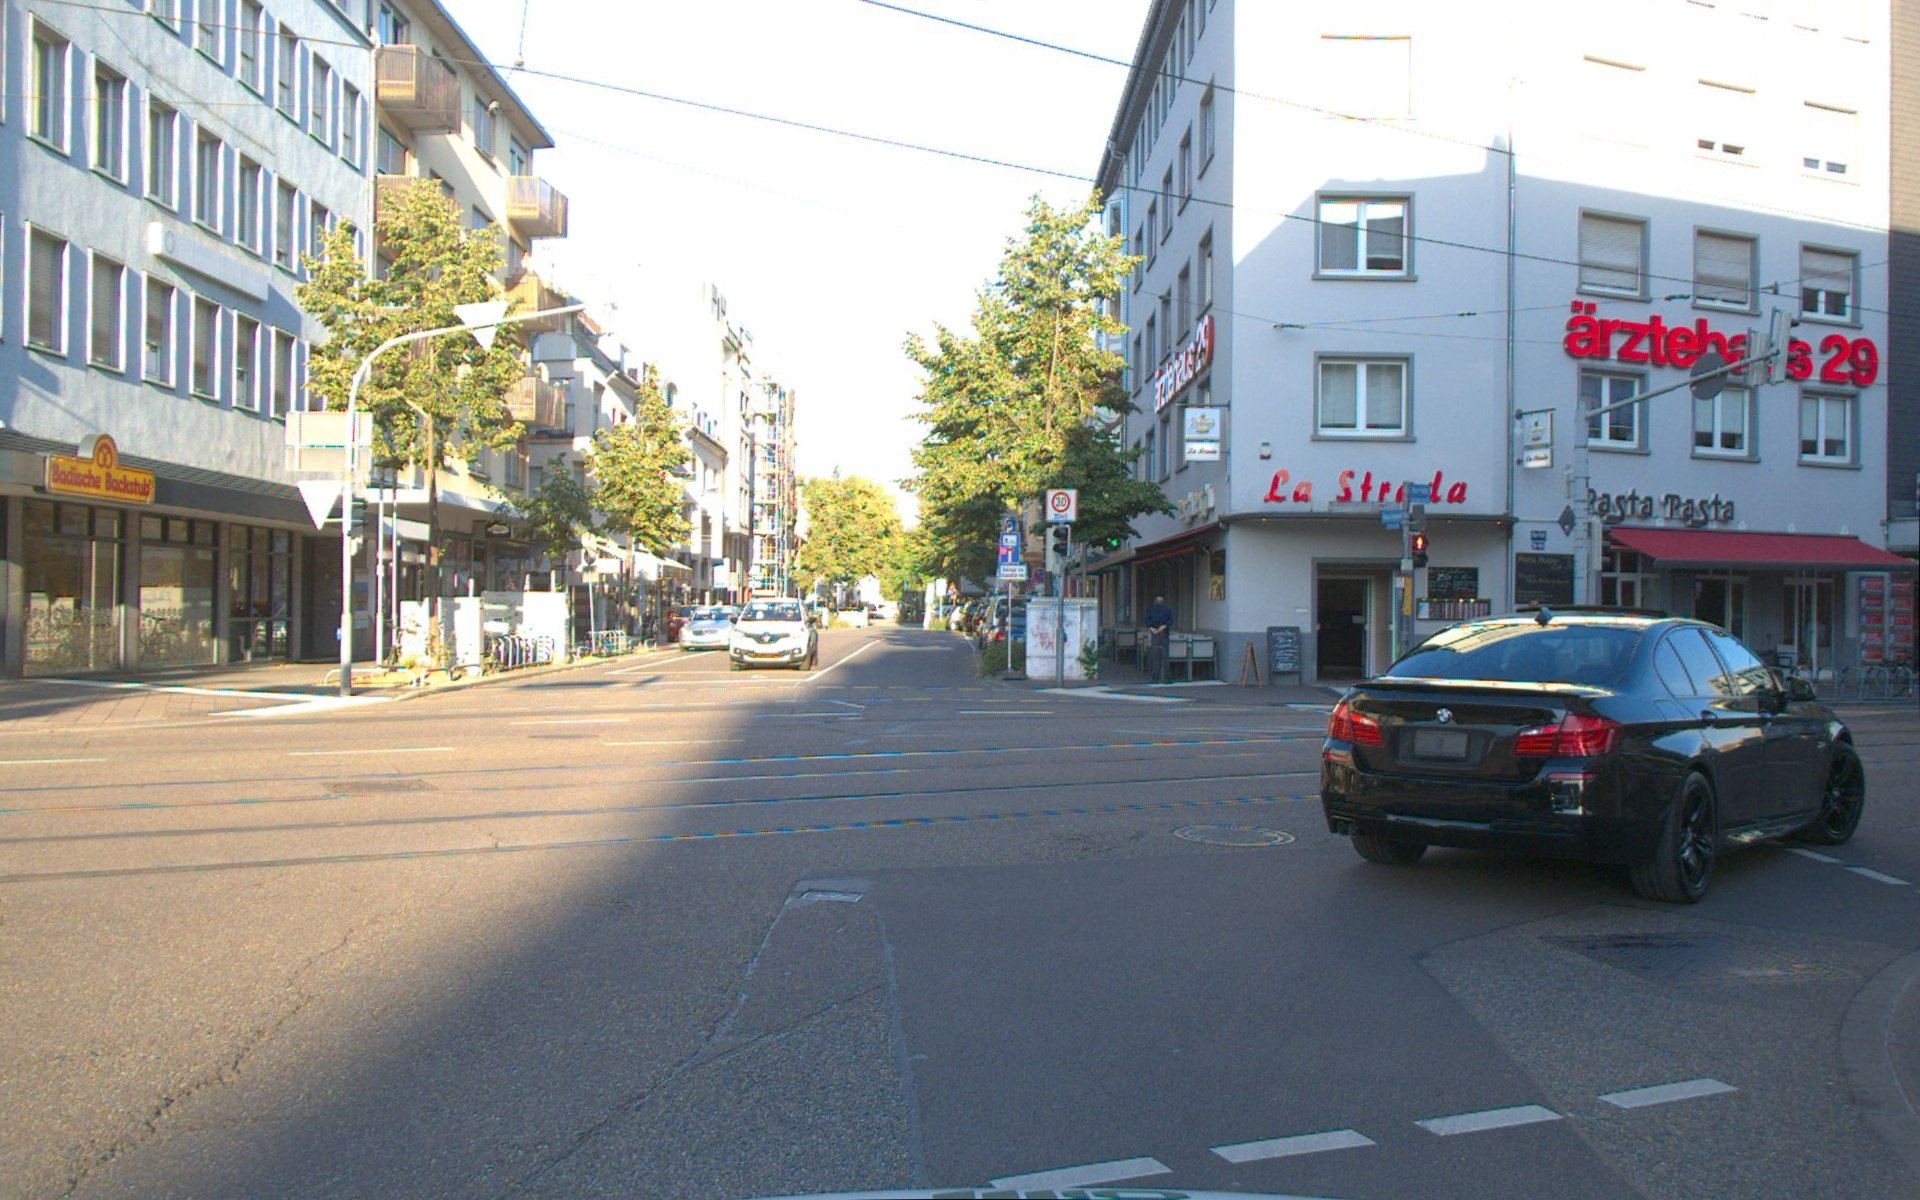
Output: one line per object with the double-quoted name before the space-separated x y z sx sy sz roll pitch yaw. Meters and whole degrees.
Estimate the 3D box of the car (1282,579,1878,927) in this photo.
"car" 3.857 0.714 9.773 1.924 1.524 4.441 2 0 40

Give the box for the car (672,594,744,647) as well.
"car" -7.957 0.615 52.471 1.798 1.583 3.778 -1 0 -2

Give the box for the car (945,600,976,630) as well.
"car" 0.026 0.942 104.120 1.813 1.825 4.001 0 0 2

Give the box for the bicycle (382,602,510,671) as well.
"bicycle" -10.274 0.722 33.106 2.321 1.275 0.639 2 -1 -5

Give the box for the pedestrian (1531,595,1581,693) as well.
"pedestrian" 10.982 0.801 30.488 0.653 1.775 0.638 1 0 -2

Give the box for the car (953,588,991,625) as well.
"car" 0.644 0.318 83.863 1.813 1.825 4.001 0 0 2

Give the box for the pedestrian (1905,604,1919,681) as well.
"pedestrian" 21.492 0.935 36.678 0.614 1.690 0.679 0 0 -24

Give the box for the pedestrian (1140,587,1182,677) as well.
"pedestrian" 3.902 0.613 32.102 0.697 1.706 0.703 1 0 -1

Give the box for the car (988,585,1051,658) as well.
"car" 1.674 0.570 46.777 1.606 1.906 3.608 4 0 2

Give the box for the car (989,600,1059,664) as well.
"car" 1.558 0.759 40.412 1.606 1.469 3.607 1 0 2

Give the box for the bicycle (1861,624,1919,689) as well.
"bicycle" 19.171 1.143 33.259 0.544 1.232 1.884 1 2 -23

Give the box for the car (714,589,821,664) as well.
"car" -4.269 0.599 37.191 2.065 1.584 4.011 0 -1 -2

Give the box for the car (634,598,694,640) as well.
"car" -11.599 0.763 65.011 1.798 1.584 3.778 0 -1 -2

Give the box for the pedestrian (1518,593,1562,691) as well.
"pedestrian" 10.955 0.785 31.247 0.586 1.810 0.638 1 0 -2
